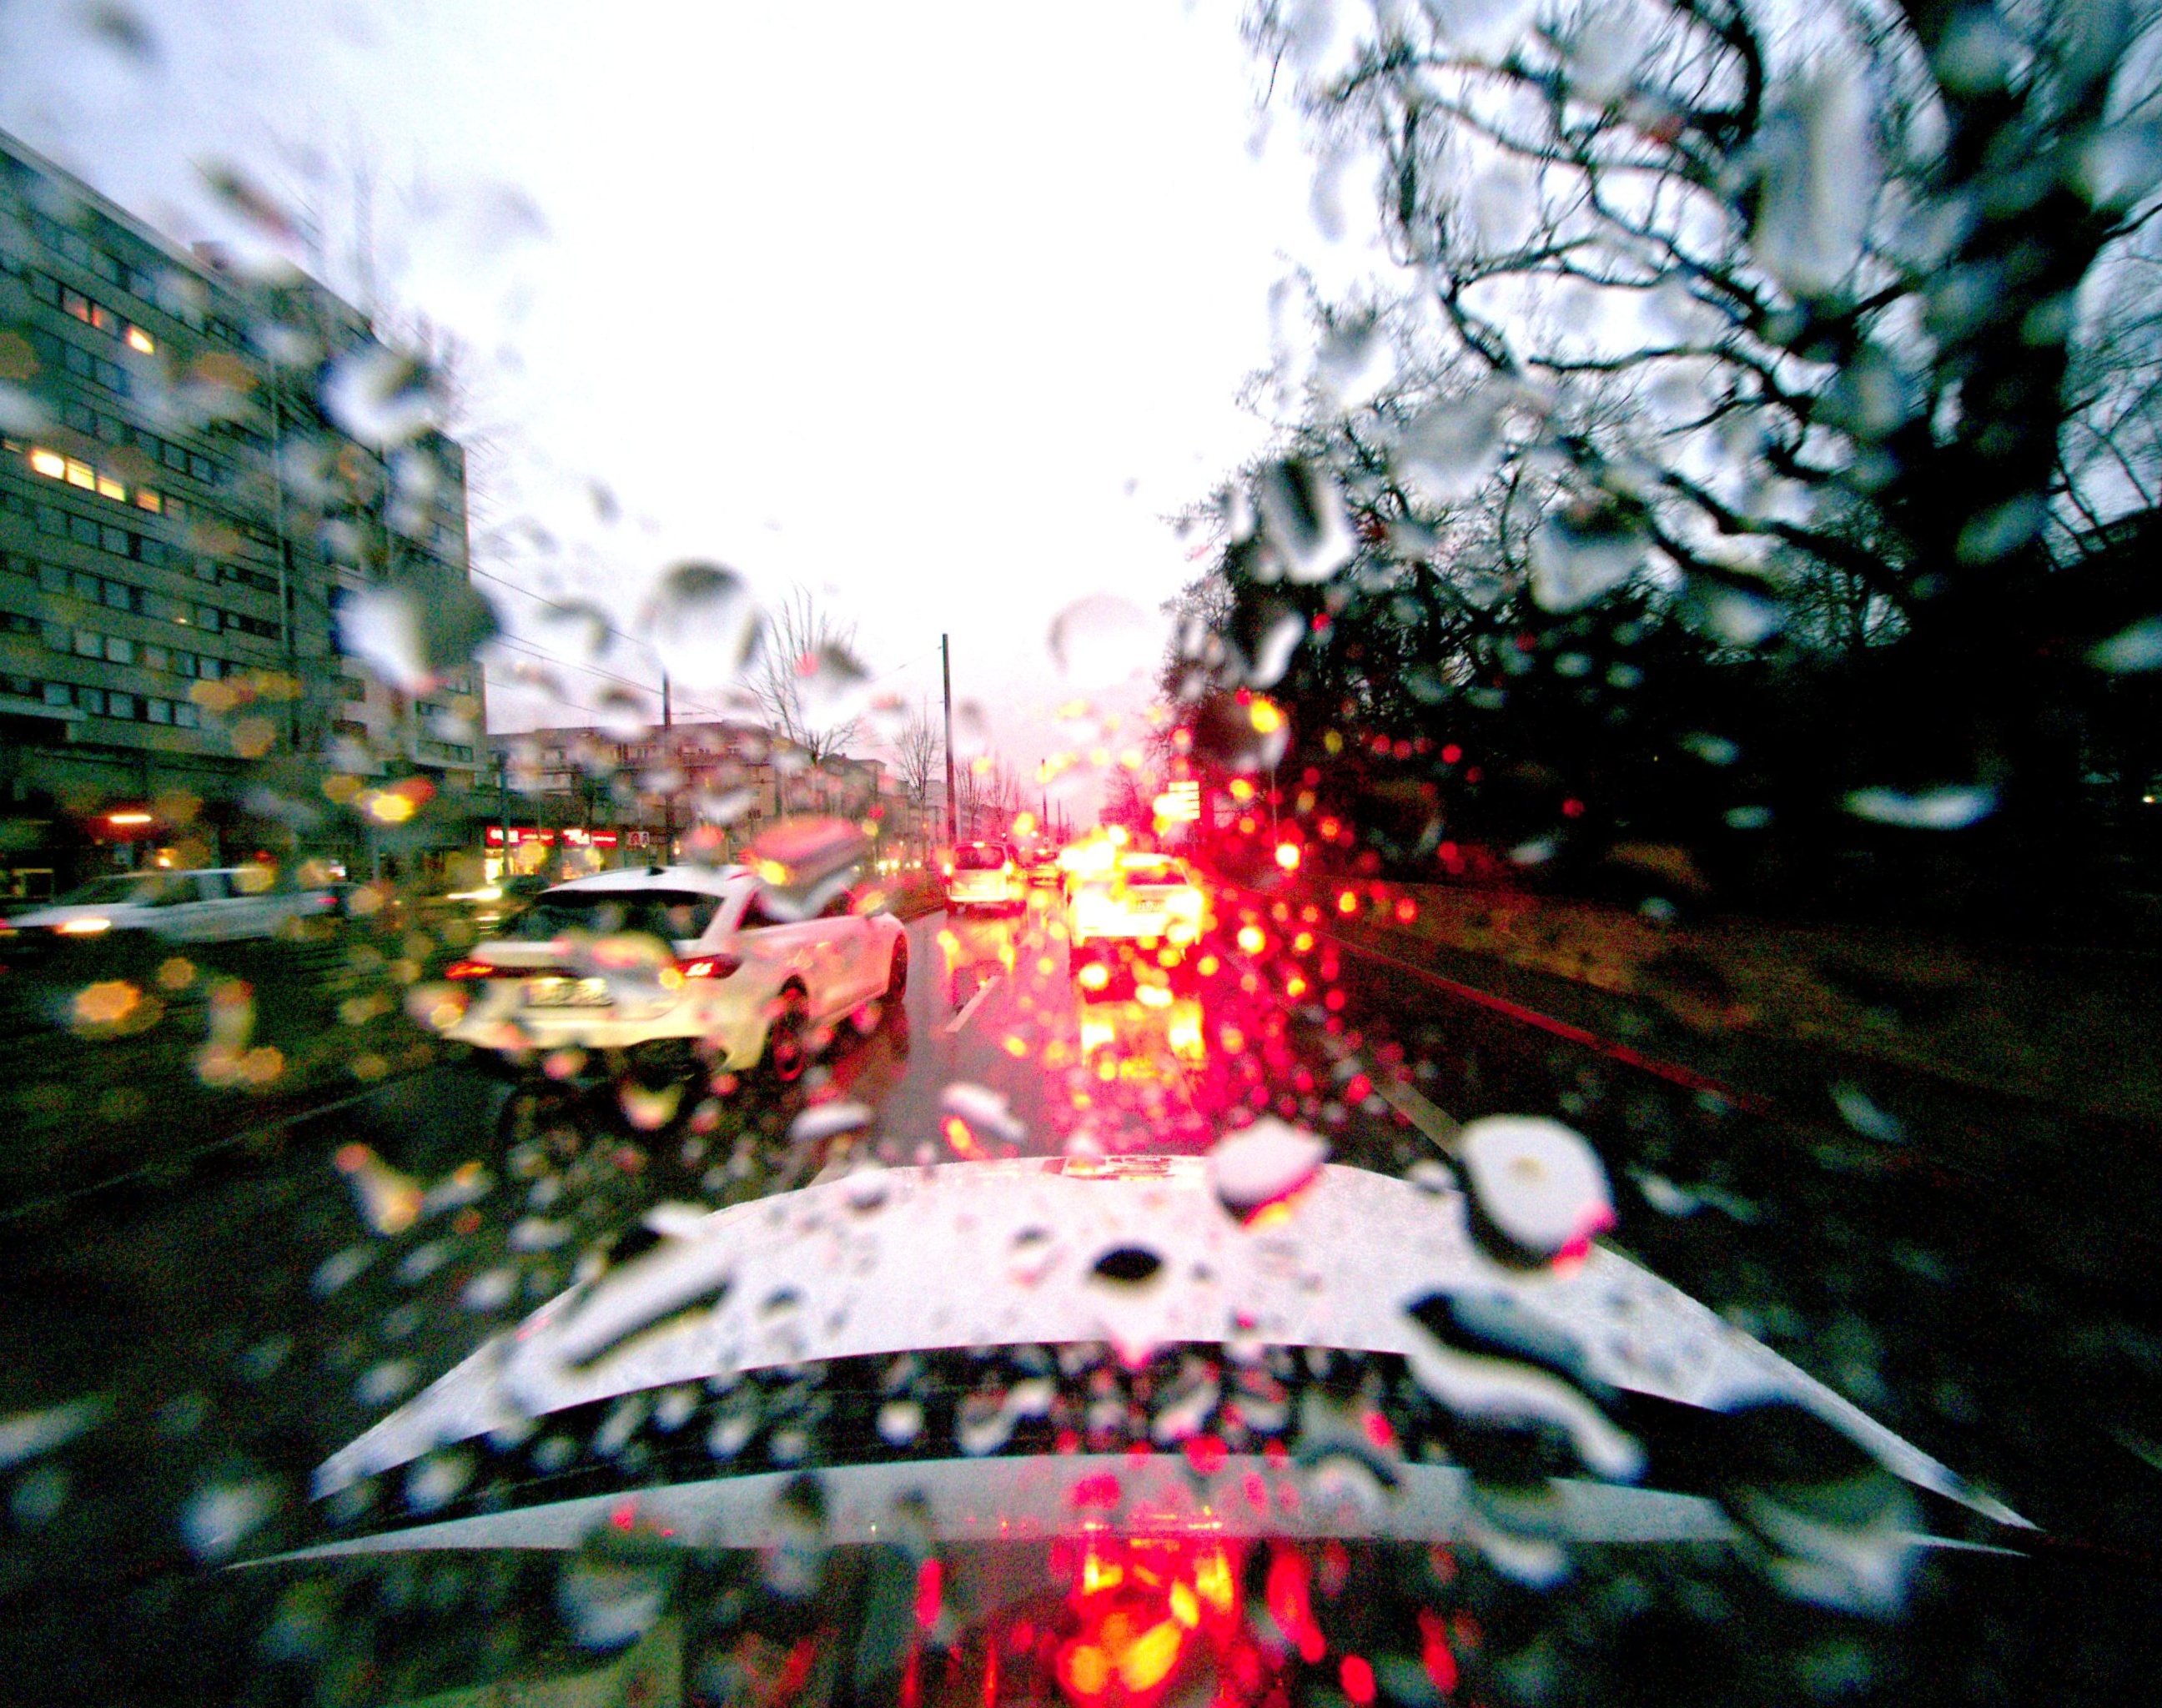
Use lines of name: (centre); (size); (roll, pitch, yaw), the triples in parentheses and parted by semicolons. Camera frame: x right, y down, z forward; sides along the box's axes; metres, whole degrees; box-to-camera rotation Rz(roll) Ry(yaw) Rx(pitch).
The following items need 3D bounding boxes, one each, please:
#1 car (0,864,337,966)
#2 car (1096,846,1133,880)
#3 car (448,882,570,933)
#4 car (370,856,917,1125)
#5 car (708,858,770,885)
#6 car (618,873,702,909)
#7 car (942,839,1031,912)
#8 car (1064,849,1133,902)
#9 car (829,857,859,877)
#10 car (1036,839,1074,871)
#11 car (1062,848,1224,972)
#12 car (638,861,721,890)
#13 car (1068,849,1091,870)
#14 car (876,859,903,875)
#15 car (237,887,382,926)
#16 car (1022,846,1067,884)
car: (-19.235, 1.145, 17.363); (1.889, 1.719, 5.119); (-2, 0, 1)
car: (1.708, 0.417, 41.757); (1.800, 1.646, 4.002); (-1, 0, 2)
car: (-24.399, 2.228, 34.983); (1.889, 1.813, 4.531); (-2, 0, 2)
car: (-2.800, 0.733, 6.646); (1.839, 1.405, 4.616); (-1, 0, 2)
car: (-23.998, 1.214, 57.343); (1.887, 1.719, 4.924); (-2, 0, 5)
car: (-23.331, 1.996, 45.392); (1.888, 1.719, 4.919); (-2, 0, 2)
car: (-2.436, 0.520, 22.012); (1.787, 1.736, 4.538); (-1, 0, 1)
car: (0.552, 0.613, 25.227); (1.928, 1.457, 4.165); (-1, 0, 2)
car: (-24.695, 1.353, 84.998); (1.991, 1.912, 5.153); (-2, 0, -5)
car: (-1.494, 0.048, 47.788); (1.986, 1.755, 4.001); (-1, 0, 1)
car: (0.837, 0.694, 12.295); (1.992, 1.508, 4.165); (-1, 0, 2)
car: (-30.443, 1.621, 61.856); (5.193, 1.912, 1.975); (-3, 0, -44)
car: (-0.095, 0.412, 68.312); (1.800, 1.646, 4.002); (-1, 0, 2)
car: (-21.411, 1.458, 91.283); (1.890, 1.634, 4.579); (-2, 0, -1)
car: (-31.301, 2.079, 33.223); (4.015, 1.387, 1.916); (0, -1, -34)
car: (-1.644, 0.476, 38.072); (1.800, 1.646, 4.002); (-1, 0, 2)
